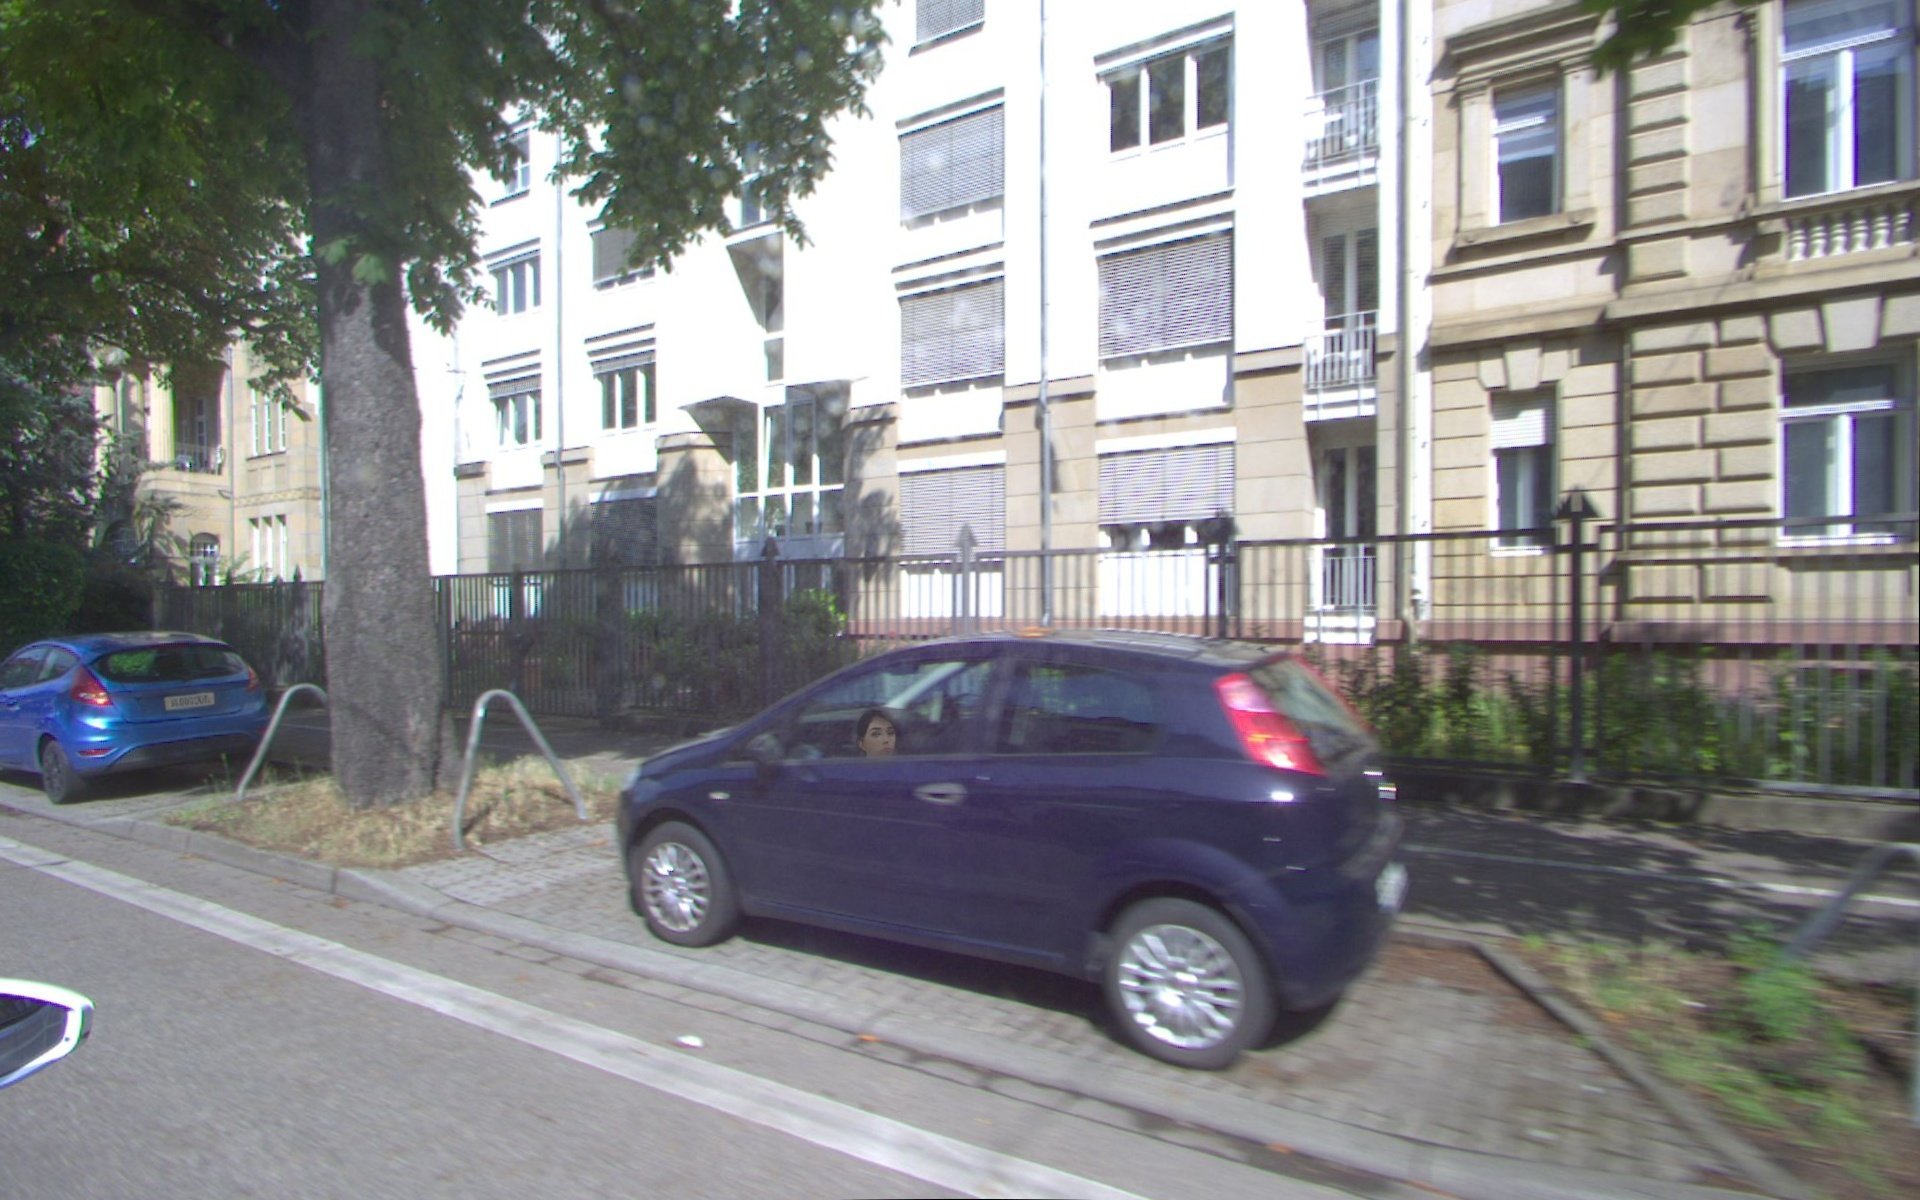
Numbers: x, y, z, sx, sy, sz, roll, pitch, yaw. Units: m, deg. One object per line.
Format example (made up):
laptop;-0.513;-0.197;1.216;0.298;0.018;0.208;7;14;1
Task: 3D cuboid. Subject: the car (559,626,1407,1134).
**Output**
car;0.028;0.917;4.757;3.701;1.516;1.637;0;1;30

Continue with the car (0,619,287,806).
car;-8.659;0.983;10.137;3.792;1.516;1.620;-1;1;32
